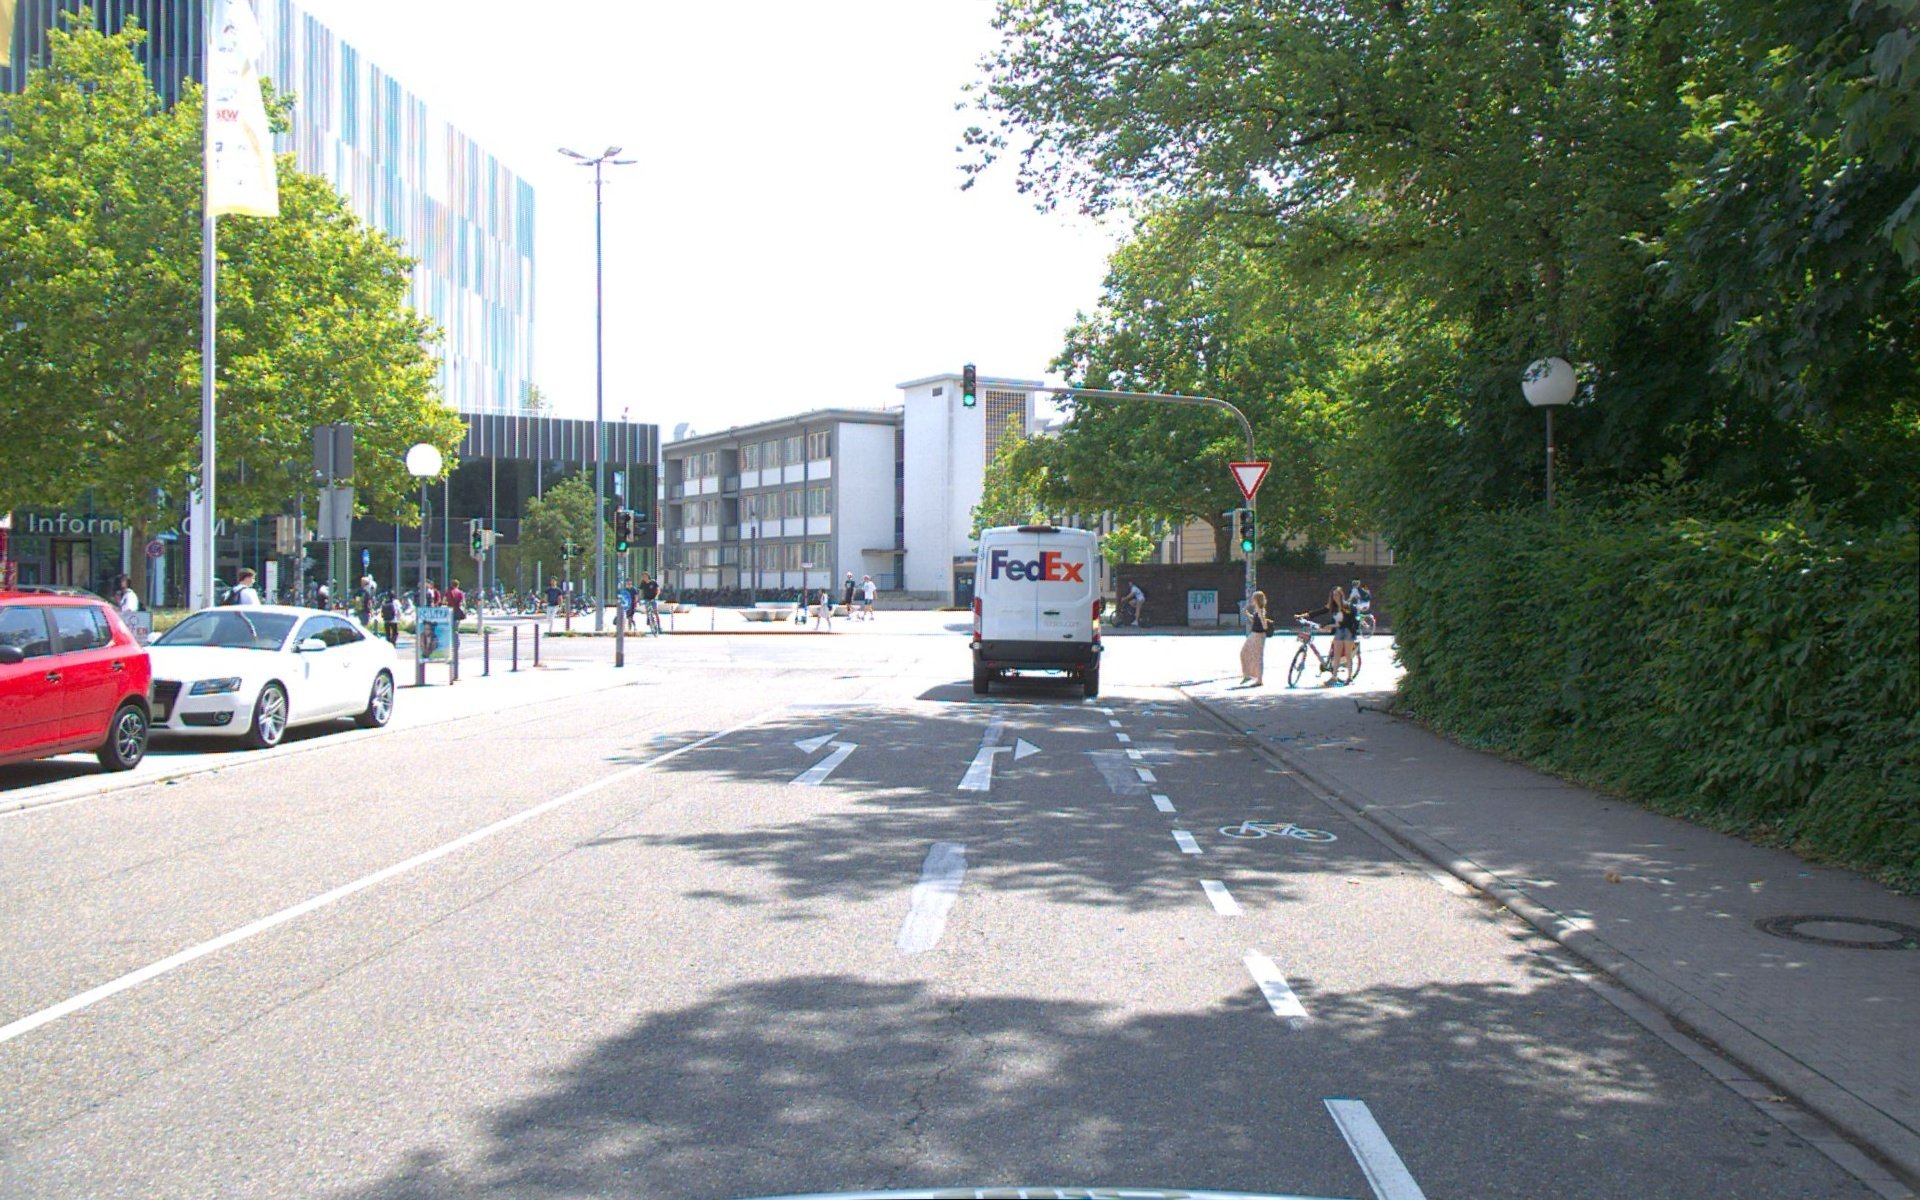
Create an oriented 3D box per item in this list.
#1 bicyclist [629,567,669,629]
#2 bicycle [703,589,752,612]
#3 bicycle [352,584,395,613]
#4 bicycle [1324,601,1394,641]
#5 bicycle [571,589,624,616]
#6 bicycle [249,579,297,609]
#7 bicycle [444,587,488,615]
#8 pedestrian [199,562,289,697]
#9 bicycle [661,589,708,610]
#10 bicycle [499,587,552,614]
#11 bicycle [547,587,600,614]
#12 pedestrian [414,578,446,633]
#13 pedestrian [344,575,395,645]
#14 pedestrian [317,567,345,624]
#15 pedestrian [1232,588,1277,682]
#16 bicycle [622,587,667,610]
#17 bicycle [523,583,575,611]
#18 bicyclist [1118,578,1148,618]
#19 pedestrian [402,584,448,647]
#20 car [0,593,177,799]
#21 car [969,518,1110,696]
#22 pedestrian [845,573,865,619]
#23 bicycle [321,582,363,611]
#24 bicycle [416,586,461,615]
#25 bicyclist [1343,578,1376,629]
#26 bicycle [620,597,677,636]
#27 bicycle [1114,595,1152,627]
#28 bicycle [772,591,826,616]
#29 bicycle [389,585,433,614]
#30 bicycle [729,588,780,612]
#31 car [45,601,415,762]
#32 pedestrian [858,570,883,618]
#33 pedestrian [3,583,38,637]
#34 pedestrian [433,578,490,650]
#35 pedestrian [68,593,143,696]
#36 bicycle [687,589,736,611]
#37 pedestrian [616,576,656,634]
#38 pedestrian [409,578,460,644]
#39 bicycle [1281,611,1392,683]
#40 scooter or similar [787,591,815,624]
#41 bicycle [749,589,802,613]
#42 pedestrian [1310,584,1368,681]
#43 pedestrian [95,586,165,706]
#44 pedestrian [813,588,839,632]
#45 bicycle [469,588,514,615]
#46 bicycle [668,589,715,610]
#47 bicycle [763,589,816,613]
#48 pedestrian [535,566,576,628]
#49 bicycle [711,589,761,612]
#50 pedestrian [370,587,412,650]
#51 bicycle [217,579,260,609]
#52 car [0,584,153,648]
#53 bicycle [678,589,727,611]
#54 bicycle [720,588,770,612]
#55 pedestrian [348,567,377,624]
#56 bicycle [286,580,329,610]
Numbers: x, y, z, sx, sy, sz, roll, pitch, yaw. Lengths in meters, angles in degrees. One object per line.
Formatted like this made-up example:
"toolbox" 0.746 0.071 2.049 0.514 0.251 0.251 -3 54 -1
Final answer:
"bicyclist" -9.468 -0.070 50.385 0.773 1.849 0.999 0 0 20
"bicycle" -14.634 0.020 104.160 2.931 1.387 1.103 1 0 -35
"bicycle" -26.130 -0.091 73.633 1.185 1.259 2.919 1 0 -32
"bicycle" 11.710 0.607 48.560 0.546 1.150 2.145 0 0 -37
"bicycle" -17.594 0.132 80.212 1.191 1.259 2.905 1 0 -42
"bicycle" -29.552 -0.270 71.128 1.361 1.259 2.917 1 0 -33
"bicycle" -22.903 0.056 76.629 1.186 1.259 2.917 1 0 -33
"pedestrian" -10.307 0.410 23.847 0.704 1.883 1.089 1 0 6
"bicycle" -18.415 -0.049 110.748 2.931 1.387 1.103 1 0 -35
"bicycle" -20.445 0.021 77.807 1.191 1.259 2.905 1 0 -42
"bicycle" -18.574 0.033 79.440 1.191 1.259 2.905 1 0 -42
"pedestrian" -16.630 0.164 51.916 0.738 1.708 0.756 0 0 2
"pedestrian" -16.202 0.264 45.404 0.836 1.909 1.006 0 0 25
"pedestrian" -29.068 -0.204 76.440 0.964 2.609 1.003 1 0 -33
"pedestrian" 5.133 0.604 28.869 0.715 1.603 0.776 1 0 7
"bicycle" -22.208 -0.113 116.589 2.931 1.602 1.103 1 0 -35
"bicycle" -19.558 -0.148 78.682 1.191 1.259 2.905 1 0 -42
"bicyclist" 6.537 -0.084 62.500 0.832 1.494 1.067 0 0 26
"pedestrian" -14.532 0.406 44.941 0.808 1.683 0.862 0 1 22
"car" -8.036 0.725 13.037 1.641 1.493 3.912 2 0 3
"car" 1.277 0.074 27.197 2.051 2.611 5.604 1 1 2
"pedestrian" -4.322 -0.165 68.204 0.658 1.846 0.812 0 0 -17
"bicycle" -27.250 -0.167 72.890 1.185 1.259 2.918 1 0 -32
"bicycle" -23.943 0.012 75.899 1.186 1.259 2.917 1 0 -33
"bicyclist" 11.719 0.093 48.523 0.511 1.477 0.776 0 0 -38
"bicycle" -9.478 0.503 50.375 0.754 1.142 2.026 0 0 20
"bicycle" 6.556 0.404 62.555 0.831 1.165 1.994 0 0 25
"bicycle" -9.368 0.203 96.228 2.931 1.387 1.103 1 0 -35
"bicycle" -24.973 -0.022 75.163 1.186 1.259 2.917 1 0 -33
"bicycle" -12.541 0.012 100.924 2.931 1.387 1.103 1 0 -35
"car" -7.605 0.761 17.812 1.641 1.419 4.664 2 0 3
"pedestrian" -3.653 -0.239 67.402 0.851 1.922 0.909 0 0 -17
"pedestrian" -42.247 0.452 74.398 0.952 2.387 1.015 1 0 3
"pedestrian" -13.044 0.357 43.305 0.789 1.839 1.267 0 0 21
"pedestrian" -14.125 0.723 27.351 0.825 1.680 0.746 0 0 4
"bicycle" -15.946 0.001 106.121 2.931 1.387 1.103 1 0 -35
"pedestrian" -10.829 0.159 55.346 0.813 1.903 1.083 0 0 26
"pedestrian" -14.858 0.303 46.762 0.844 1.850 1.095 0 0 26
"bicycle" 6.407 0.794 28.202 1.702 1.146 0.593 -2 -1 -4
"scooter or similar" -6.174 0.287 64.019 0.704 1.198 2.716 0 1 -13
"bicycle" -11.007 0.072 98.671 2.931 1.387 1.260 1 0 -35
"pedestrian" 6.443 0.546 28.129 0.716 1.603 0.726 -2 -1 -4
"pedestrian" -13.297 0.719 26.512 0.704 1.892 0.770 0 0 4
"pedestrian" -4.840 0.350 59.703 0.811 1.550 0.811 0 0 -17
"bicycle" -21.888 0.064 77.272 1.186 1.259 2.916 1 0 -34
"bicycle" -17.783 -0.041 109.538 2.931 1.387 1.103 1 0 -35
"bicycle" -10.041 0.085 97.361 2.931 1.387 1.103 1 0 -35
"pedestrian" -12.670 -0.103 51.813 0.687 1.887 1.400 0 2 12
"bicycle" -13.969 0.024 103.104 2.931 1.387 1.103 1 0 -35
"pedestrian" -14.737 0.476 42.828 0.754 1.625 0.799 0 0 4
"bicycle" -30.703 -0.259 70.367 1.186 1.259 2.916 1 0 -34
"car" -24.444 0.416 44.966 4.192 1.690 1.654 0 1 4
"bicycle" -16.756 -0.011 107.644 2.931 1.387 1.103 1 0 -35
"bicycle" -13.265 0.005 102.016 2.931 1.387 1.103 1 0 -35
"pedestrian" -27.688 -0.209 76.612 0.966 2.609 1.000 1 0 -40
"bicycle" -28.382 -0.236 71.881 1.186 1.259 2.918 1 0 -33
